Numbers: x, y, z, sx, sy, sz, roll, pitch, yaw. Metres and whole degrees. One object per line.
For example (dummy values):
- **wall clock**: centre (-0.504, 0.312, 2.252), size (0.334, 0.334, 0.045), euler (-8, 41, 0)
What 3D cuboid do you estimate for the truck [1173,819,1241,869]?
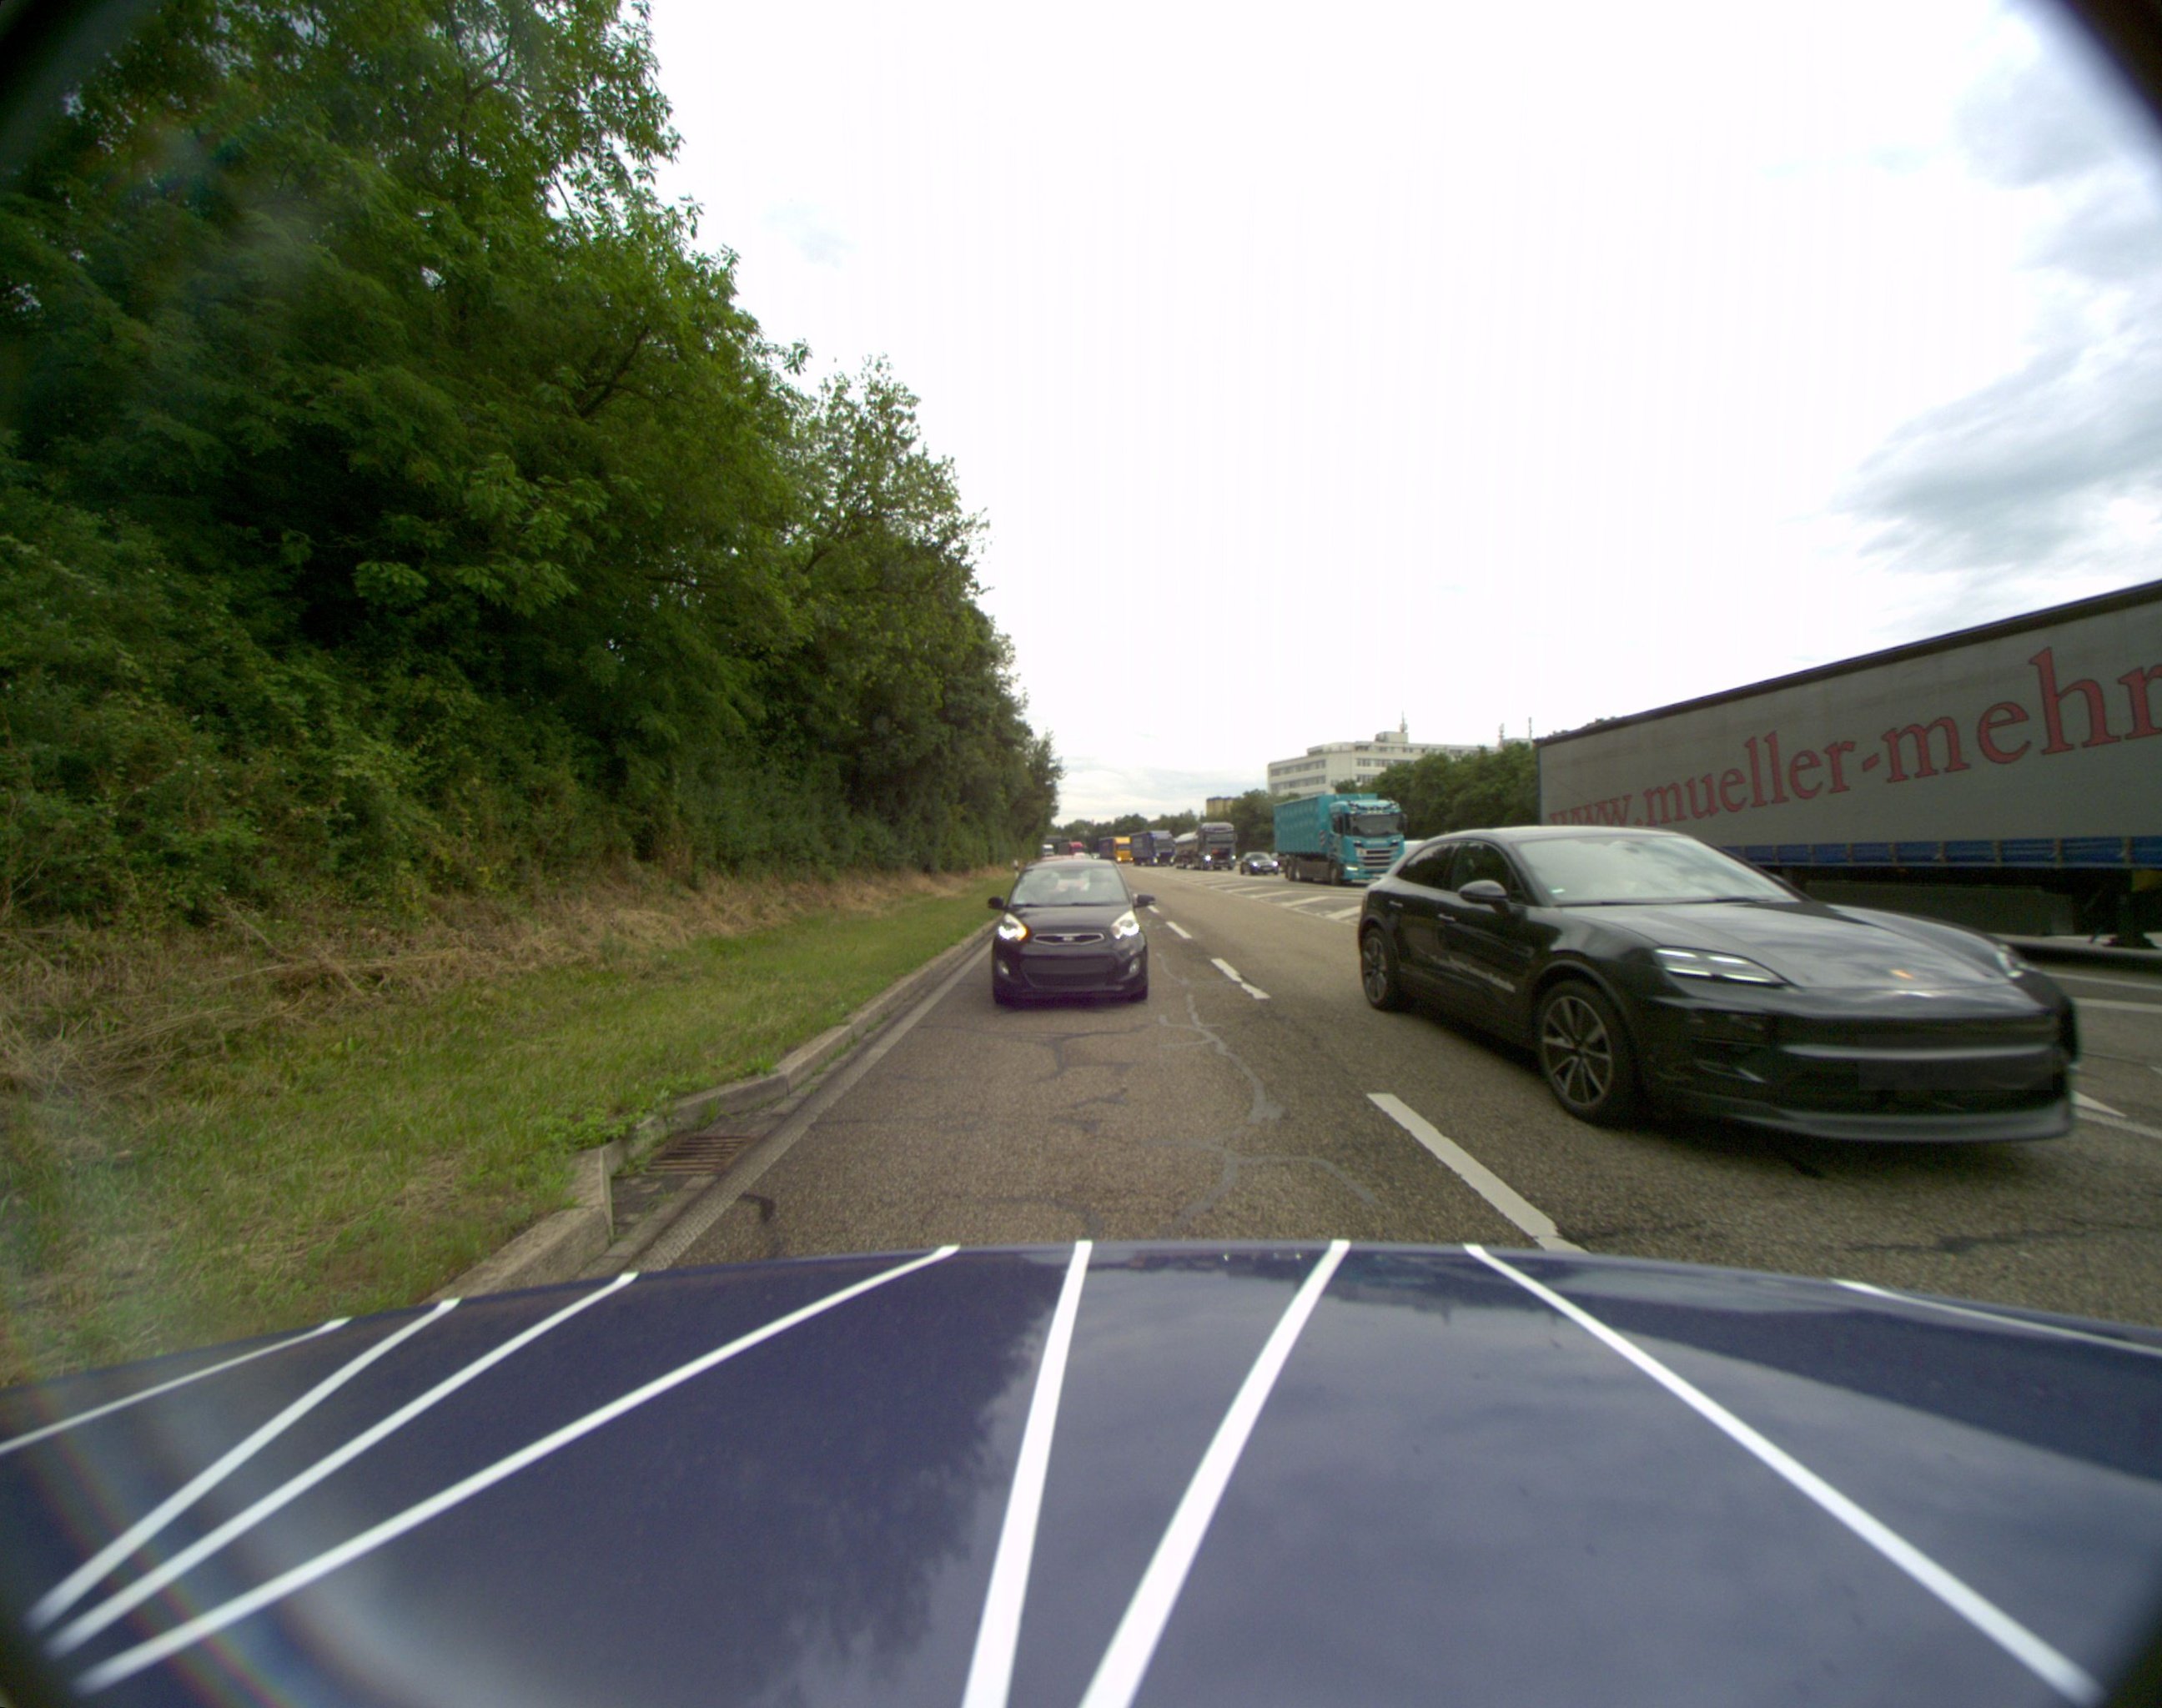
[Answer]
- **truck**: centre (10.768, -0.782, 66.695), size (3.328, 3.902, 13.142), euler (-1, 0, -2)

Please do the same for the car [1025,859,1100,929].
- **car**: centre (-0.415, 0.887, 18.540), size (1.631, 1.492, 3.563), euler (-1, 0, 0)

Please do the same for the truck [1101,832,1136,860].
- **truck**: centre (5.759, -1.187, 120.792), size (2.848, 4.206, 14.110), euler (-1, 0, -8)

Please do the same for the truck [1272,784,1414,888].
- **truck**: centre (11.407, -0.700, 34.463), size (2.700, 3.977, 10.123), euler (-1, 0, -1)

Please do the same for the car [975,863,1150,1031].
- **car**: centre (-0.145, 0.891, 9.058), size (1.584, 1.485, 4.000), euler (-2, 0, 1)

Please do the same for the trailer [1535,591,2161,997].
- **trailer**: centre (11.926, -0.617, 10.847), size (2.680, 3.951, 13.919), euler (-1, 0, 1)

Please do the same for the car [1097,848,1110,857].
- **car**: centre (4.225, -0.244, 141.790), size (1.700, 1.704, 3.864), euler (-1, 0, -9)

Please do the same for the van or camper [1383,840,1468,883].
- **van or camper**: centre (16.300, 0.325, 36.243), size (1.720, 1.881, 4.590), euler (-1, 0, -3)

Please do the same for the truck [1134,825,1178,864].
- **truck**: centre (8.723, -1.029, 90.161), size (2.814, 4.206, 14.000), euler (-1, 0, -4)

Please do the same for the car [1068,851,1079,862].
- **car**: centre (-1.156, 0.335, 114.635), size (1.613, 1.657, 3.146), euler (-1, 0, 1)

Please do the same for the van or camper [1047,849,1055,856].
- **van or camper**: centre (-7.984, -0.461, 200.451), size (1.707, 1.685, 3.824), euler (-1, 0, -9)

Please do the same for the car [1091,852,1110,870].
- **car**: centre (1.767, 0.607, 68.870), size (1.601, 1.543, 3.302), euler (-1, 0, 0)

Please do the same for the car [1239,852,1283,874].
- **car**: centre (11.300, 0.543, 47.872), size (1.757, 1.314, 3.999), euler (-1, 0, -1)

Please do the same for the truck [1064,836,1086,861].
- **truck**: centre (-1.321, -1.188, 167.289), size (2.848, 5.070, 14.110), euler (-1, 0, -8)

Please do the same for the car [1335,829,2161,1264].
- **car**: centre (3.491, 0.719, 5.284), size (1.906, 1.653, 4.751), euler (-1, 1, 1)
